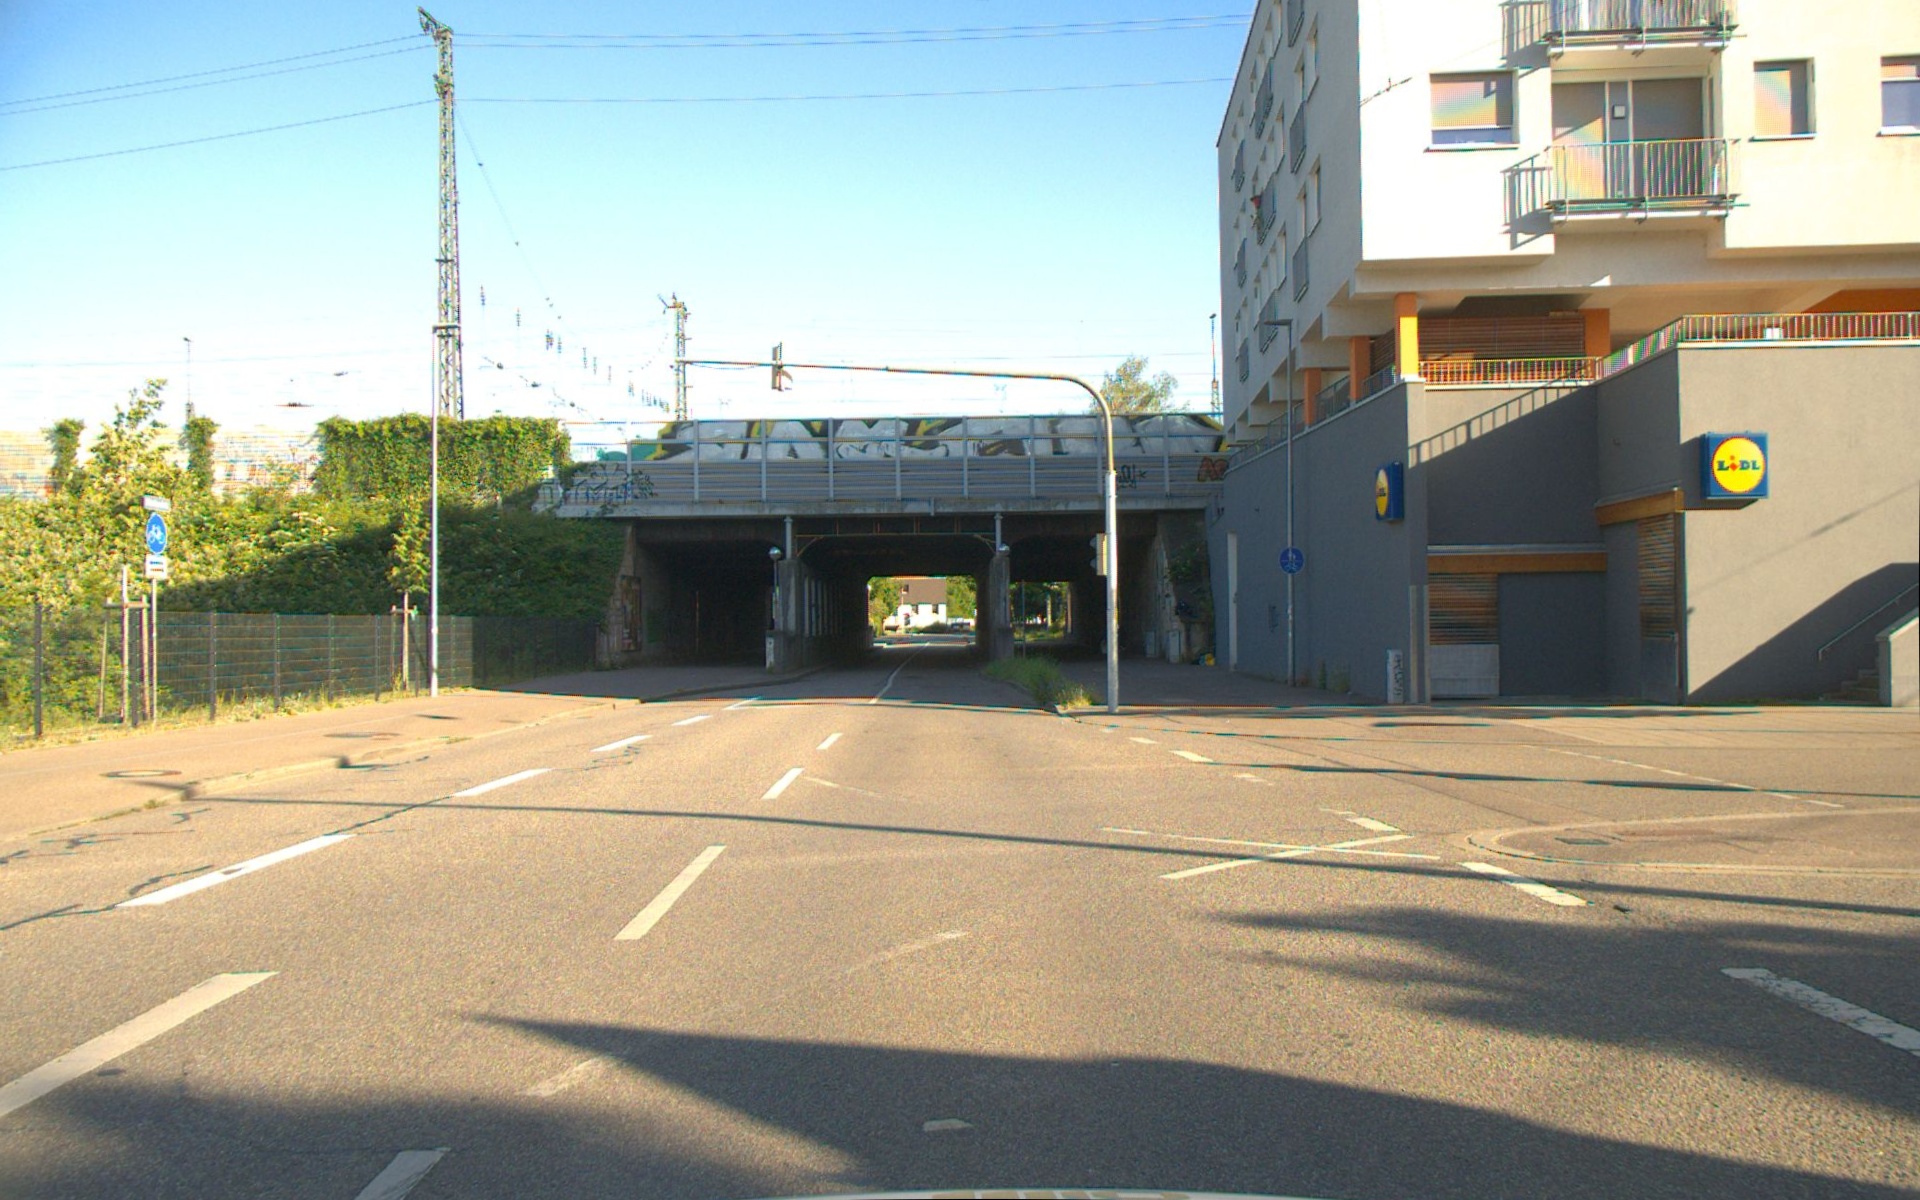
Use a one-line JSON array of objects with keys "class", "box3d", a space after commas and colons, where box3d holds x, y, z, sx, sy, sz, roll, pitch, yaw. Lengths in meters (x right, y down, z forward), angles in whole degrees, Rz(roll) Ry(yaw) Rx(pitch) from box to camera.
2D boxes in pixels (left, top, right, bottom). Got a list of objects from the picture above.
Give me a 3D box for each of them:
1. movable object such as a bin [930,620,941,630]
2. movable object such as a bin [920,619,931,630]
[{"class": "movable object such as a bin", "box3d": [-3.456, 3.504, 232.428, 1.339, 1.443, 1.064, 1, -2, -7]}, {"class": "movable object such as a bin", "box3d": [-4.818, 3.469, 232.224, 1.339, 1.443, 1.064, 1, -2, -7]}]
